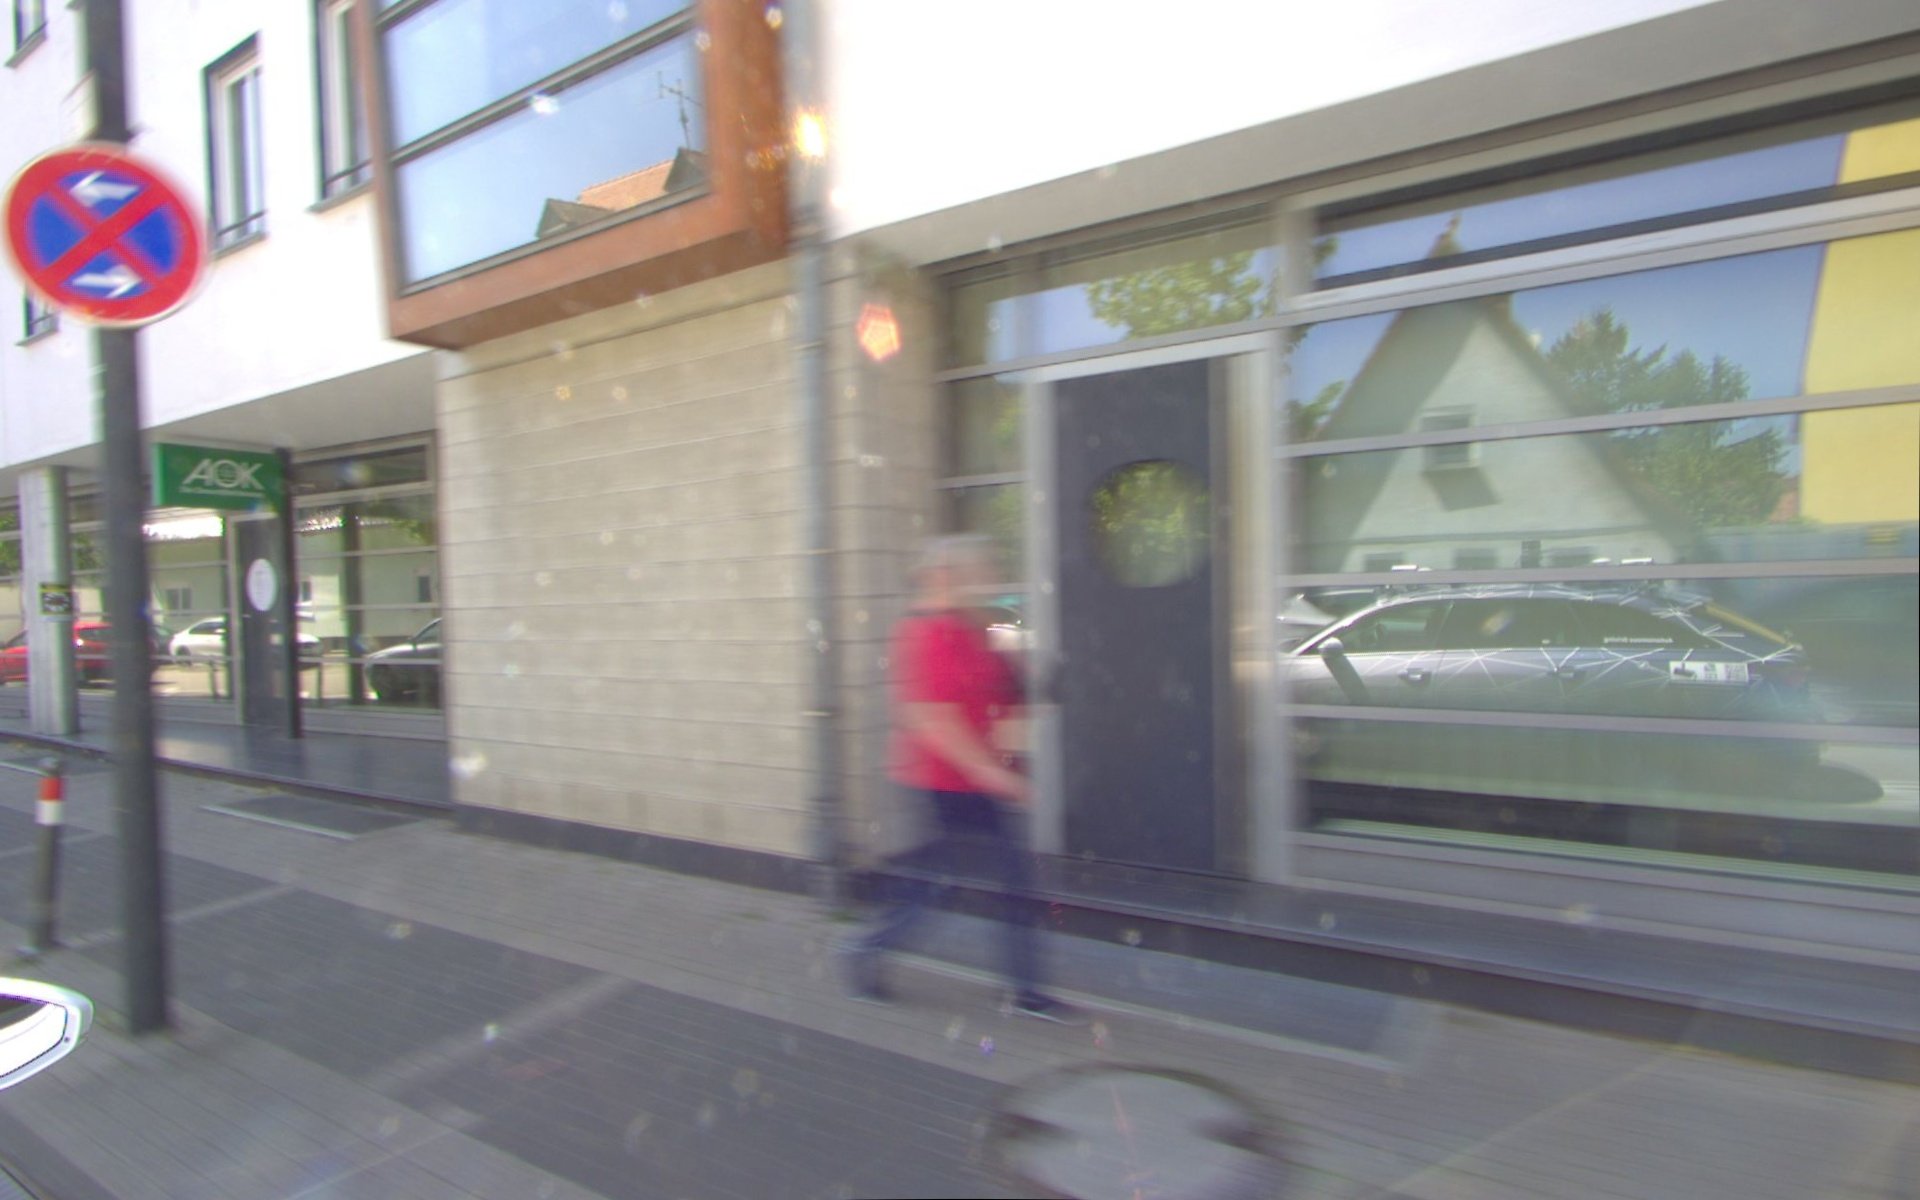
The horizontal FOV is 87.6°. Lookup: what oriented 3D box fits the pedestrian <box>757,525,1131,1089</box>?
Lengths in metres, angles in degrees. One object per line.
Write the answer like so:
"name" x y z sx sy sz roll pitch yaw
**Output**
"pedestrian" -0.027 0.577 3.412 0.906 1.610 0.821 -1 4 33
